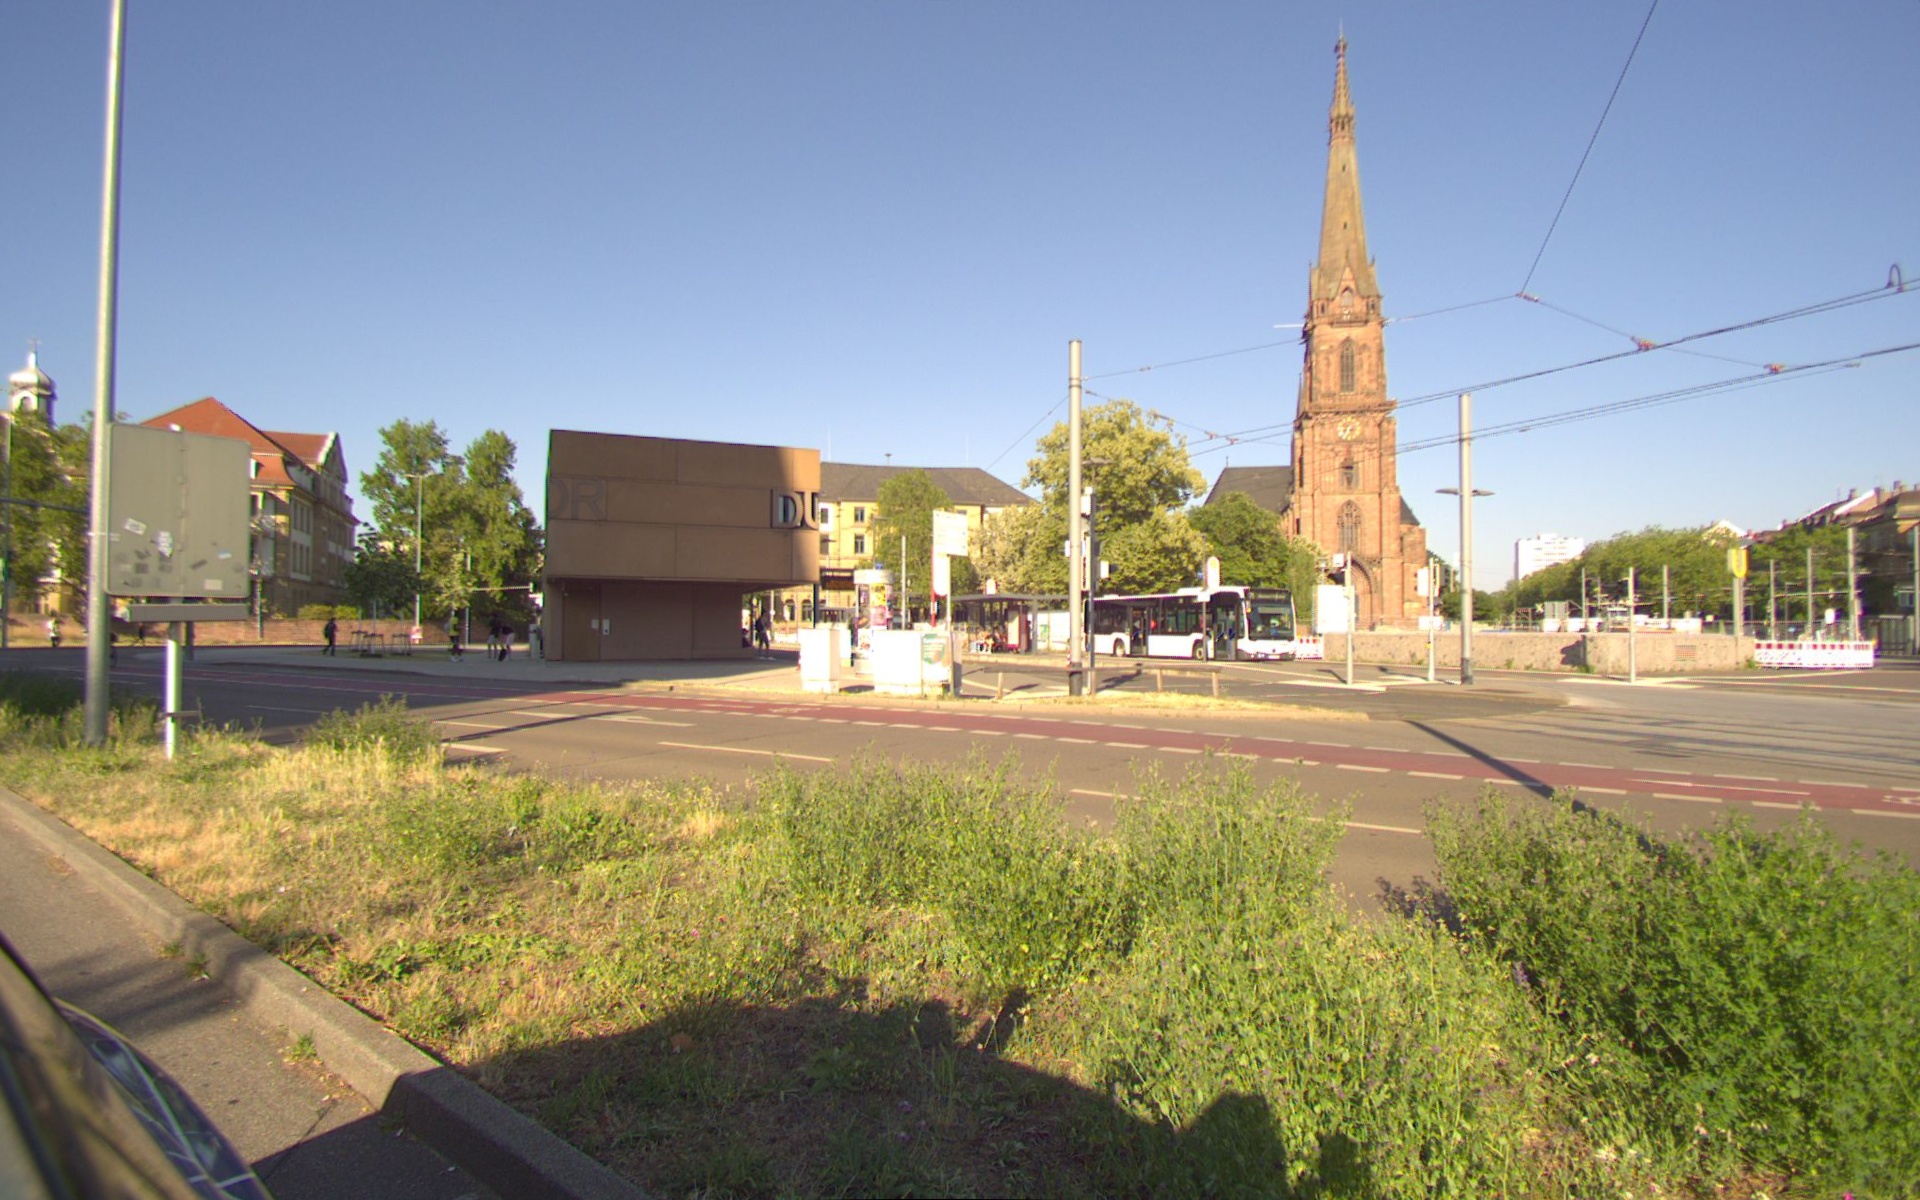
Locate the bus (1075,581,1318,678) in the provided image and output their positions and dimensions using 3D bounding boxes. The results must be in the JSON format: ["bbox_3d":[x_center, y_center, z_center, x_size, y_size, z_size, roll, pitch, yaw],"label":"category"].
[{"bbox_3d":[9.354,1.045,42.590,3.194,3.342,12.228,4,-1,-23],"label":"bus"}]

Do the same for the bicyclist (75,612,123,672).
[{"bbox_3d":[-27.252,1.310,32.040,1.007,1.846,0.737,0,-1,22],"label":"bicyclist"}]

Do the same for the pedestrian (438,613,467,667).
[{"bbox_3d":[-17.736,1.388,35.349,0.639,1.849,0.708,-4,-3,41],"label":"pedestrian"}]

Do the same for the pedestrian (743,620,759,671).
[{"bbox_3d":[-8.533,1.856,41.292,0.604,2.029,0.809,-1,-2,-13],"label":"pedestrian"}]

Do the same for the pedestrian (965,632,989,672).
[{"bbox_3d":[0.855,2.626,50.891,0.979,1.997,0.831,1,-3,-21],"label":"pedestrian"}]

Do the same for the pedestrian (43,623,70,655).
[{"bbox_3d":[-49.919,2.155,55.898,0.710,1.686,0.864,3,-1,28],"label":"pedestrian"}]

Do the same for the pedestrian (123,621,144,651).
[{"bbox_3d":[-47.454,2.058,58.127,0.780,1.665,0.715,3,-1,-33],"label":"pedestrian"}]

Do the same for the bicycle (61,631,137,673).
[{"bbox_3d":[-27.285,1.631,32.056,2.539,1.265,0.736,0,-1,23],"label":"bicycle"}]

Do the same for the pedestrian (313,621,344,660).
[{"bbox_3d":[-27.702,1.780,44.369,0.745,1.698,0.890,-1,-2,31],"label":"pedestrian"}]

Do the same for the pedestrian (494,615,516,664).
[{"bbox_3d":[-16.555,1.453,36.814,0.723,1.744,0.667,-1,-3,-24],"label":"pedestrian"}]

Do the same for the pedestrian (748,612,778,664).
[{"bbox_3d":[-7.590,1.466,38.914,0.964,1.997,0.721,1,-3,-23],"label":"pedestrian"}]

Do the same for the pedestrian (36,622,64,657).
[{"bbox_3d":[-50.798,2.205,56.495,0.710,1.908,0.864,3,-1,28],"label":"pedestrian"}]

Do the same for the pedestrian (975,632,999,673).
[{"bbox_3d":[1.293,2.548,49.175,0.964,1.997,0.721,1,-3,-21],"label":"pedestrian"}]

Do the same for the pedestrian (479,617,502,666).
[{"bbox_3d":[-16.585,1.463,35.728,0.629,1.702,0.551,0,-3,-36],"label":"pedestrian"}]
